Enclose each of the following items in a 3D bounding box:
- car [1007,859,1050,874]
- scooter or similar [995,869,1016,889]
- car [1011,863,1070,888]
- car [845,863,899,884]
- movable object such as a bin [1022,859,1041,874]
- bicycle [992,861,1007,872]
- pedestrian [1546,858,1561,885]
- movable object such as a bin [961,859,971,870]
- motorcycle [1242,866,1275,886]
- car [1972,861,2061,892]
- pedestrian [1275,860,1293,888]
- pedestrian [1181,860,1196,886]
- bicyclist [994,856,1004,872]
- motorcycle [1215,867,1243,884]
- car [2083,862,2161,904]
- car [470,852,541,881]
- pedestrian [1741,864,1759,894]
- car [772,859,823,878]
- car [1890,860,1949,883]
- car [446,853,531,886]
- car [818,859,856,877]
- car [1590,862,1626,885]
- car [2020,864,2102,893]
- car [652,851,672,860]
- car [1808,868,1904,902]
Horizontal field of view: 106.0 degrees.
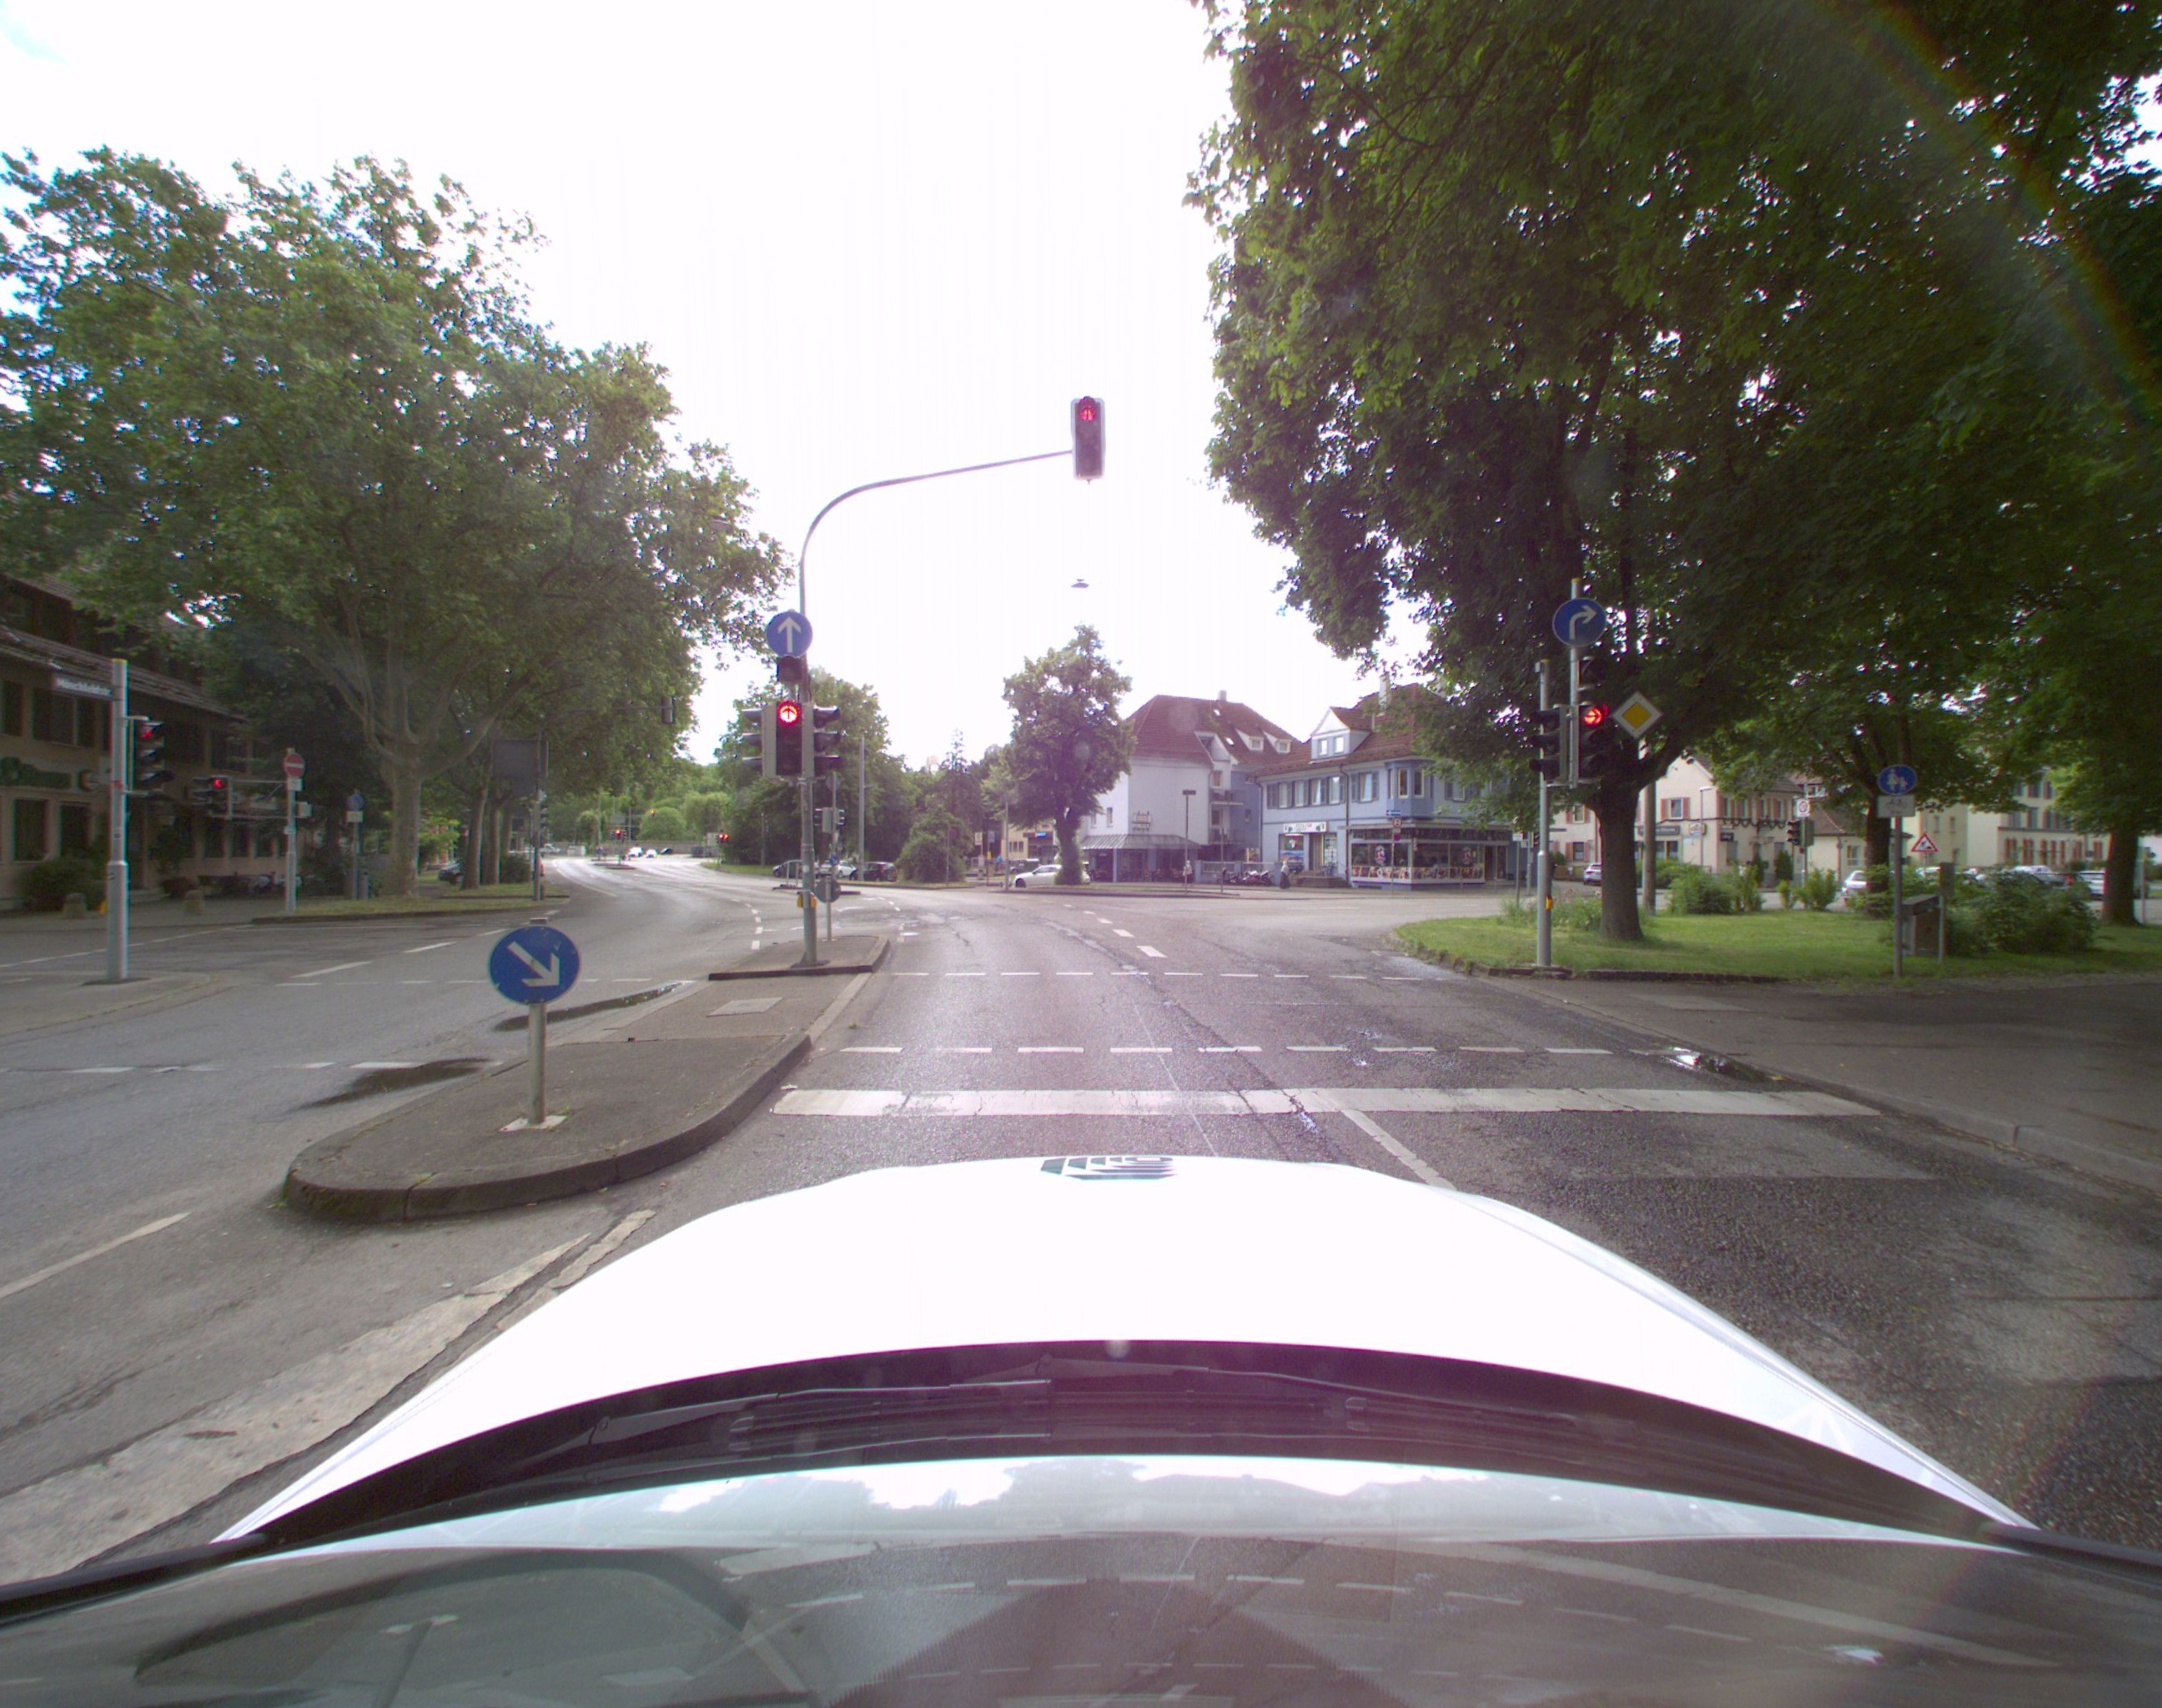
[{"bbox_3d":[-4.882,1.140,76.161,3.752,1.345,1.422,0,0,-25],"label":"car"},{"bbox_3d":[-3.979,1.292,42.887,0.413,1.011,1.575,-1,-1,22],"label":"scooter or similar"},{"bbox_3d":[-2.310,1.204,46.244,3.134,1.354,1.448,0,-1,36],"label":"car"},{"bbox_3d":[-13.908,1.270,54.211,3.549,1.394,1.481,0,-1,34],"label":"car"},{"bbox_3d":[-4.524,1.138,74.254,1.447,1.409,0.959,0,-1,-25],"label":"movable object such as a bin"},{"bbox_3d":[-8.069,1.228,80.980,0.596,1.112,1.591,-1,-1,36],"label":"bicycle"},{"bbox_3d":[26.763,0.975,46.112,0.459,1.517,0.584,0,-1,-19],"label":"pedestrian"},{"bbox_3d":[-12.222,1.126,86.644,0.953,1.115,0.381,0,-1,-19],"label":"movable object such as a bin"},{"bbox_3d":[10.533,1.290,48.268,1.777,1.121,0.699,0,-1,40],"label":"motorcycle"},{"bbox_3d":[42.214,0.976,36.755,3.510,1.321,1.549,0,0,-21],"label":"car"},{"bbox_3d":[11.410,1.125,45.745,0.759,1.545,0.682,-1,-1,41],"label":"pedestrian"},{"bbox_3d":[6.591,1.156,49.934,0.699,1.545,0.682,-1,-1,42],"label":"pedestrian"},{"bbox_3d":[-8.158,0.970,80.878,0.592,1.541,0.744,-1,-1,36],"label":"bicyclist"},{"bbox_3d":[9.112,1.316,50.082,0.699,1.064,1.617,0,-1,-44],"label":"motorcycle"},{"bbox_3d":[52.829,1.435,41.128,4.004,2.014,1.770,0,-1,-23],"label":"car"},{"bbox_3d":[-35.486,0.761,50.289,3.461,1.742,1.557,0,-1,-31],"label":"car"},{"bbox_3d":[38.171,1.424,46.451,0.610,1.649,0.606,0,-1,-26],"label":"pedestrian"},{"bbox_3d":[-22.440,1.119,64.490,3.520,1.464,1.591,0,0,14],"label":"car"},{"bbox_3d":[55.114,1.127,53.533,4.007,1.420,1.544,0,0,-26],"label":"car"},{"bbox_3d":[-31.003,0.788,42.723,3.461,1.641,1.557,0,-1,-31],"label":"car"},{"bbox_3d":[-20.081,1.135,67.192,1.534,1.464,3.407,0,0,13],"label":"car"},{"bbox_3d":[32.601,1.185,50.344,1.481,1.369,3.198,-1,-1,40],"label":"car"},{"bbox_3d":[47.001,1.166,39.062,3.511,1.321,1.549,0,0,-22],"label":"car"},{"bbox_3d":[-95.495,0.452,185.611,4.011,2.014,1.981,0,-1,-29],"label":"car"},{"bbox_3d":[31.960,1.252,33.572,3.511,1.321,1.549,0,0,-22],"label":"car"}]
